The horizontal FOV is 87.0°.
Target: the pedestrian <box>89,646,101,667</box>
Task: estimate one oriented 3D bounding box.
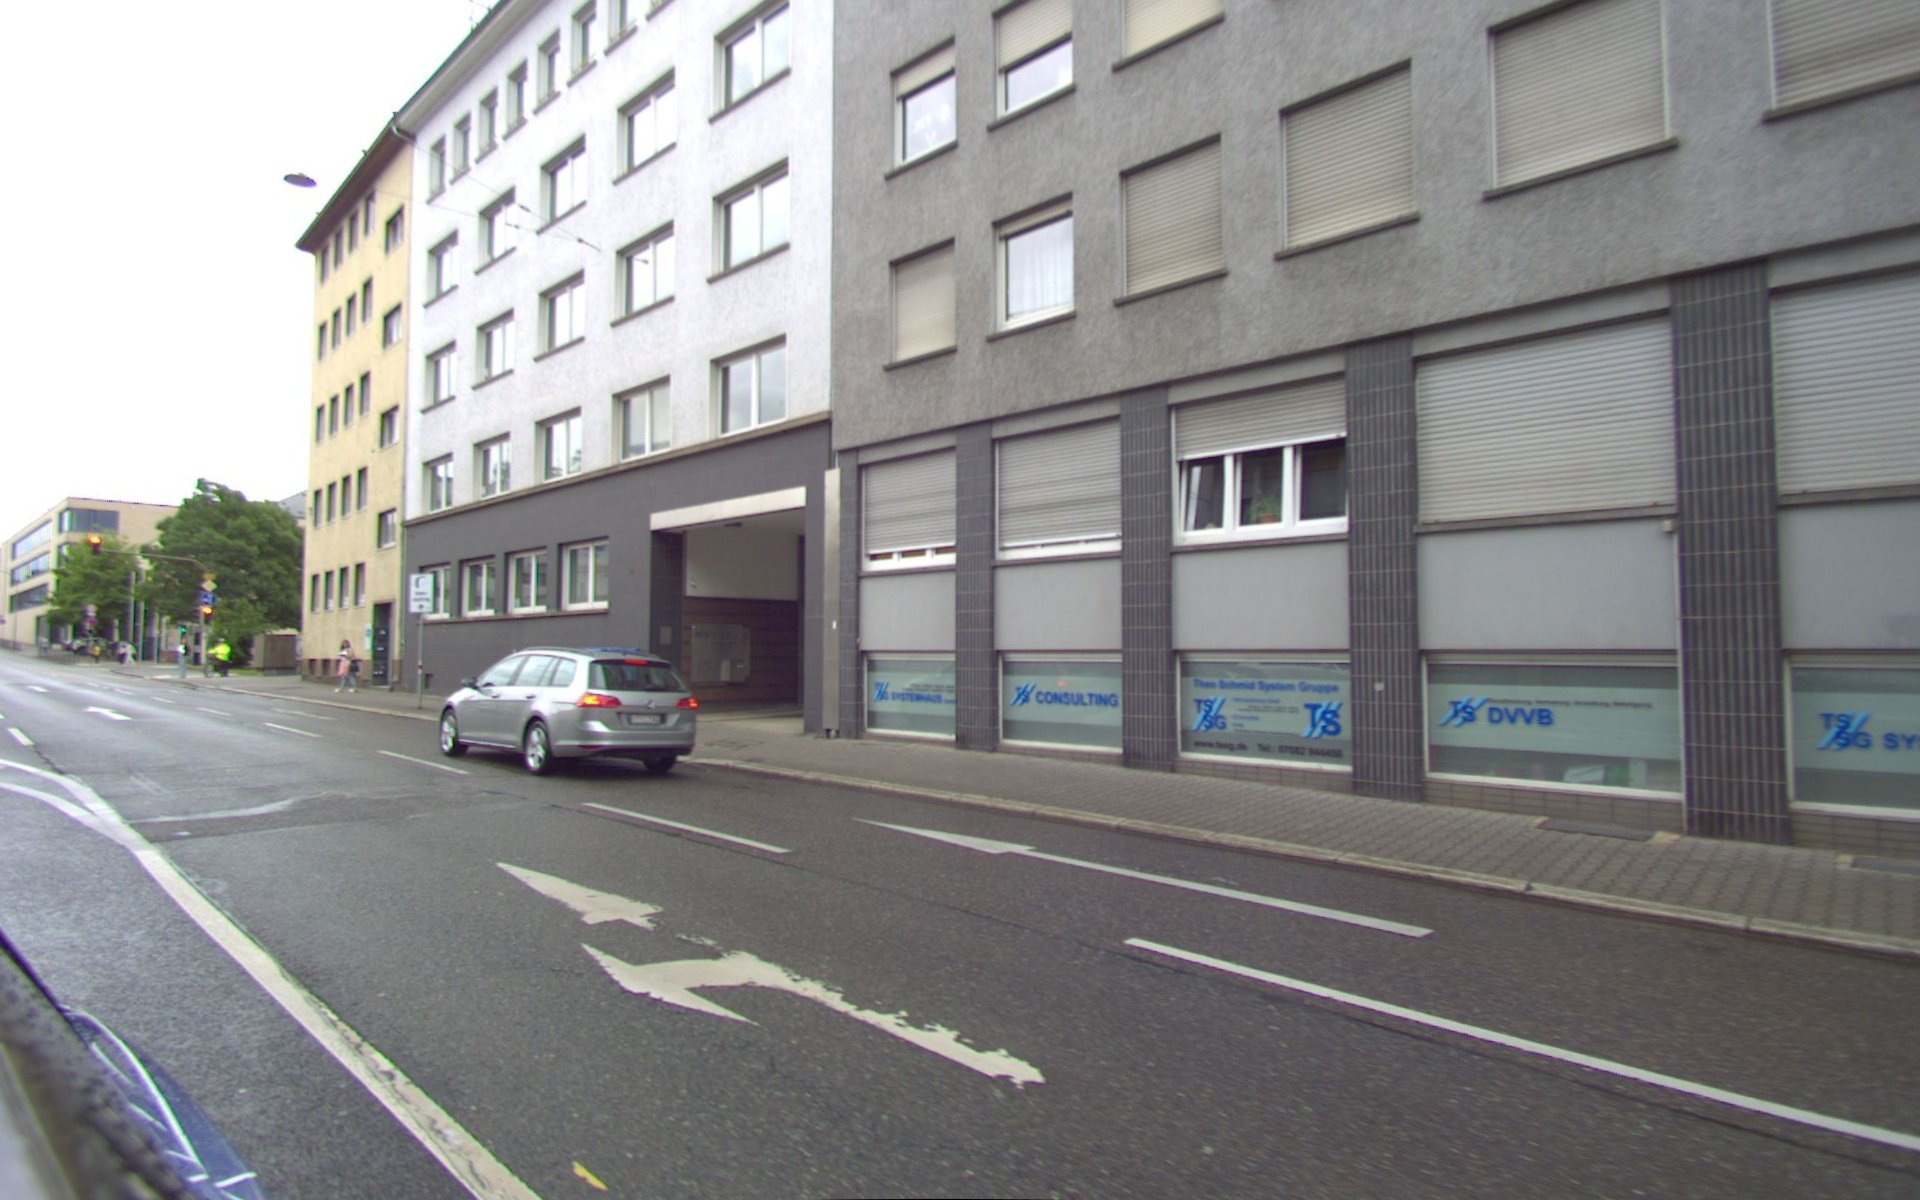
[{"bbox_3d":[-65.092,4.256,76.173,0.692,1.528,0.587,-2,-3,42],"label":"pedestrian"}]

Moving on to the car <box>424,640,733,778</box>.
[{"bbox_3d":[-4.894,1.295,12.691,4.294,1.427,1.807,-3,-7,43],"label":"car"}]

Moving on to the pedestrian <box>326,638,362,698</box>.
[{"bbox_3d":[-18.049,1.975,29.655,0.709,1.702,0.811,1,-3,-45],"label":"pedestrian"}]

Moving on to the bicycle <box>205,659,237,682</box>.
[{"bbox_3d":[-31.775,3.010,43.500,0.875,0.914,1.868,1,-2,-44],"label":"bicycle"}]

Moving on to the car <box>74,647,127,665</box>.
[{"bbox_3d":[-85.460,5.538,100.620,3.939,1.597,2.002,1,-2,-43],"label":"car"}]

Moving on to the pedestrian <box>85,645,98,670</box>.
[{"bbox_3d":[-64.011,4.233,74.586,0.692,1.785,0.587,-2,-3,42],"label":"pedestrian"}]

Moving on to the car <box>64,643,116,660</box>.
[{"bbox_3d":[-87.607,5.167,101.903,3.939,1.597,2.002,1,-2,-43],"label":"car"}]

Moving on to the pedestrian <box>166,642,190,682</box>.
[{"bbox_3d":[-33.691,2.664,43.581,0.709,1.702,0.811,1,-3,-45],"label":"pedestrian"}]

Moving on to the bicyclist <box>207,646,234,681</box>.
[{"bbox_3d":[-31.832,2.708,43.550,0.832,1.453,0.813,1,-3,-45],"label":"bicyclist"}]

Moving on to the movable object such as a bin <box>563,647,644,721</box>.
[{"bbox_3d":[-6.881,1.594,19.526,1.191,1.334,1.064,-2,-3,44],"label":"movable object such as a bin"}]

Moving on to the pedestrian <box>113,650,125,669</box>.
[{"bbox_3d":[-62.579,4.409,75.270,0.475,1.386,0.614,-3,-3,44],"label":"pedestrian"}]
